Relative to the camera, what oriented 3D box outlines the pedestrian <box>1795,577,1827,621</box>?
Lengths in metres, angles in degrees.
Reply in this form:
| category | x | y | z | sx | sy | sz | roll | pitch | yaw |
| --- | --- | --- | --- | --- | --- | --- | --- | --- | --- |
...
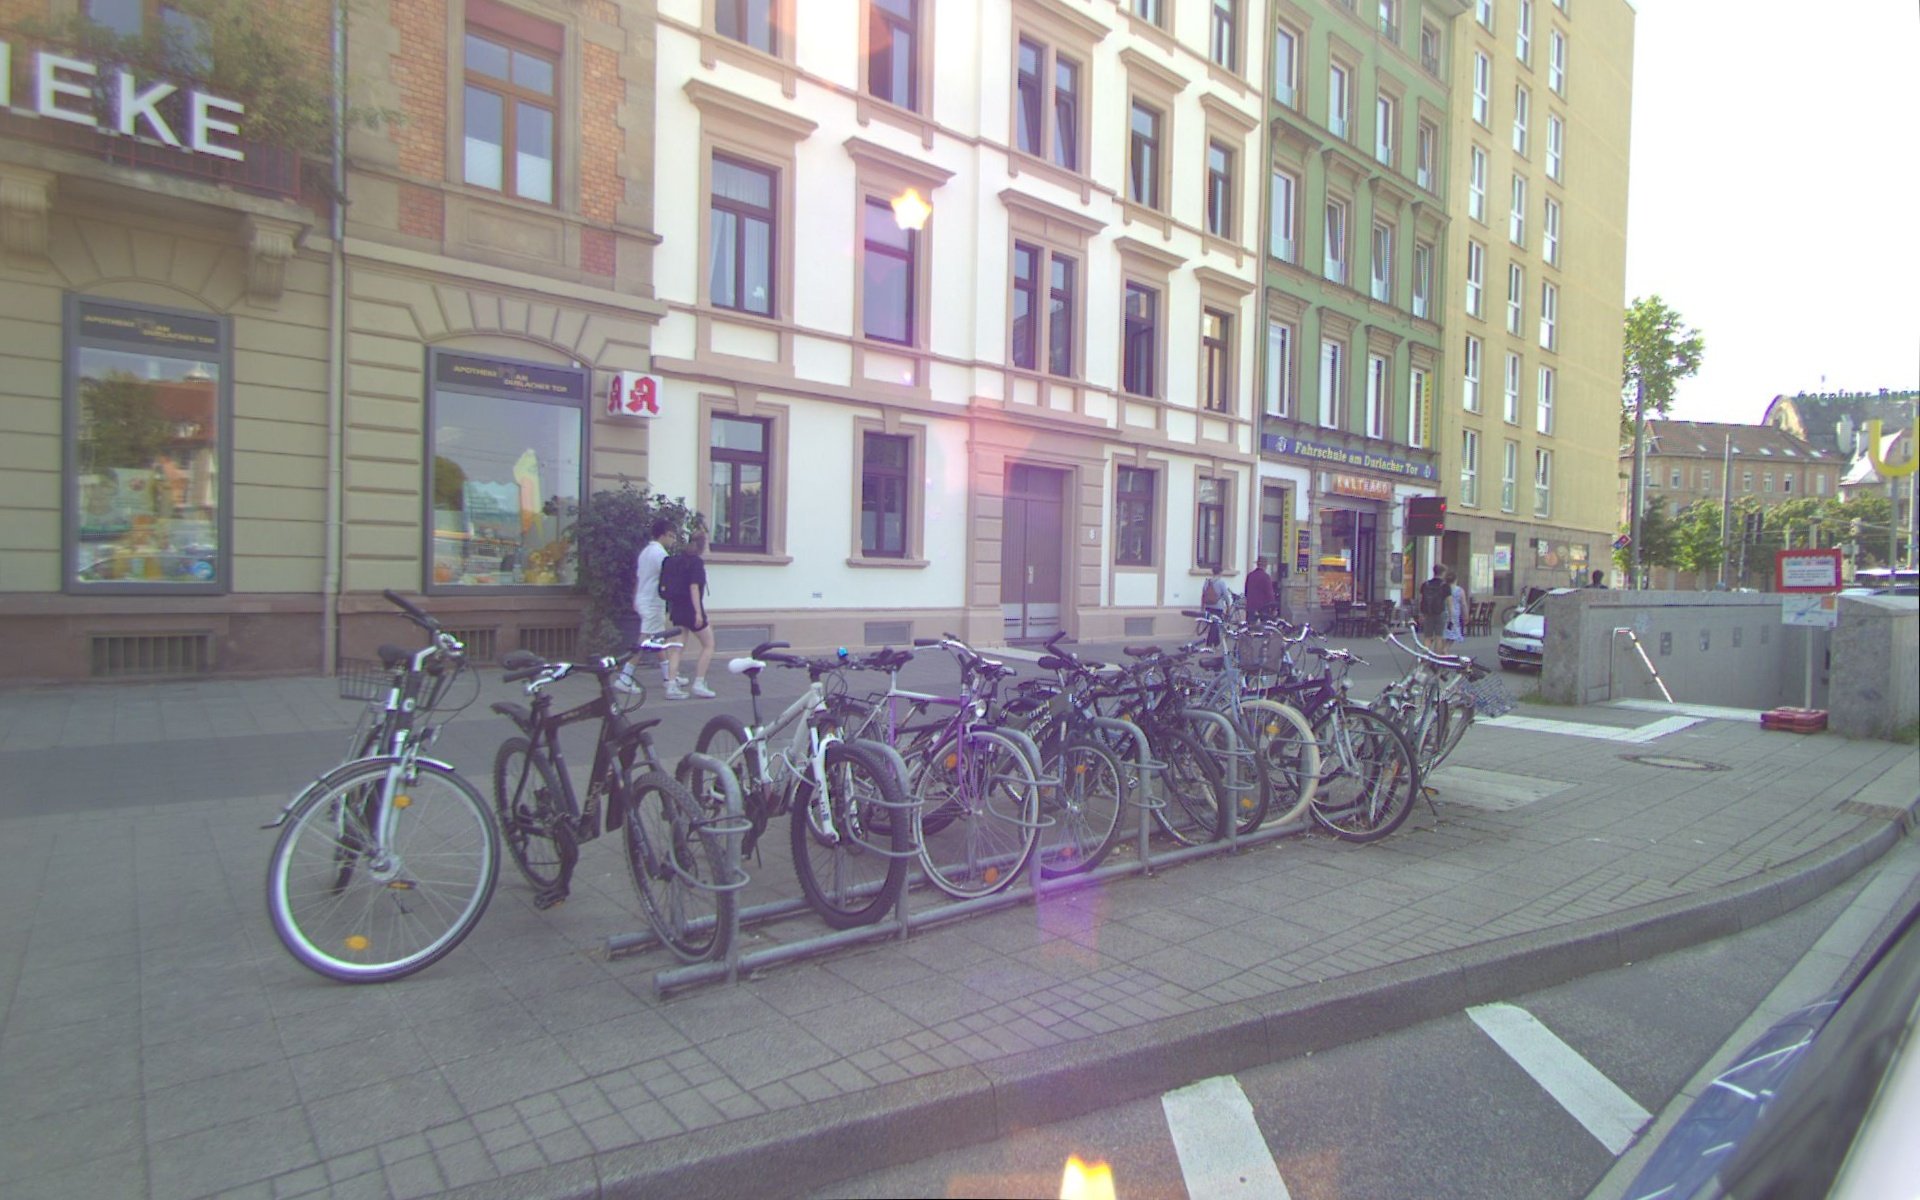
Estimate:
| category | x | y | z | sx | sy | sz | roll | pitch | yaw |
| --- | --- | --- | --- | --- | --- | --- | --- | --- | --- |
| pedestrian | 32.741 | -0.056 | 38.926 | 0.934 | 1.628 | 0.792 | -1 | 3 | -43 |

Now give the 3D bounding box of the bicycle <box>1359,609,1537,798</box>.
| category | x | y | z | sx | sy | sz | roll | pitch | yaw |
| --- | --- | --- | --- | --- | --- | --- | --- | --- | --- |
| bicycle | 3.249 | 0.626 | 6.690 | 1.479 | 1.084 | 0.476 | 0 | 2 | -40 |

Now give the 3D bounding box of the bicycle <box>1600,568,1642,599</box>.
| category | x | y | z | sx | sy | sz | roll | pitch | yaw |
| --- | --- | --- | --- | --- | --- | --- | --- | --- | --- |
| bicycle | 27.151 | -0.677 | 41.534 | 2.392 | 1.254 | 0.793 | 0 | 2 | -41 |

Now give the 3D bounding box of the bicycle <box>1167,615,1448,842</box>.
| category | x | y | z | sx | sy | sz | roll | pitch | yaw |
| --- | --- | --- | --- | --- | --- | --- | --- | --- | --- |
| bicycle | 1.917 | 0.653 | 5.779 | 0.358 | 1.085 | 1.540 | 2 | 0 | -40 |

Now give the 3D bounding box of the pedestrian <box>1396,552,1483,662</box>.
| category | x | y | z | sx | sy | sz | roll | pitch | yaw |
| --- | --- | --- | --- | --- | --- | --- | --- | --- | --- |
| pedestrian | 7.979 | 0.106 | 16.851 | 0.952 | 1.750 | 0.853 | 3 | 1 | -34 |

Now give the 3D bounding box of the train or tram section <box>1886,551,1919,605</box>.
| category | x | y | z | sx | sy | sz | roll | pitch | yaw |
| --- | --- | --- | --- | --- | --- | --- | --- | --- | --- |
| train or tram section | 65.791 | -1.305 | 64.005 | 2.544 | 3.604 | 12.229 | 1 | 2 | -3 |

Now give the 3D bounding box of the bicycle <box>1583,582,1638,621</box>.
| category | x | y | z | sx | sy | sz | roll | pitch | yaw |
| --- | --- | --- | --- | --- | --- | --- | --- | --- | --- |
| bicycle | 21.857 | 0.059 | 34.012 | 1.514 | 1.254 | 0.593 | 1 | 1 | -7 |

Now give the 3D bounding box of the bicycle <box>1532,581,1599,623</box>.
| category | x | y | z | sx | sy | sz | roll | pitch | yaw |
| --- | --- | --- | --- | --- | --- | --- | --- | --- | --- |
| bicycle | 18.827 | 0.062 | 31.451 | 2.377 | 1.254 | 0.941 | 0 | 2 | -37 |

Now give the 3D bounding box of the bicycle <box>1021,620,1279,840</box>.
| category | x | y | z | sx | sy | sz | roll | pitch | yaw |
| --- | --- | --- | --- | --- | --- | --- | --- | --- | --- |
| bicycle | 1.012 | 0.658 | 5.709 | 0.358 | 1.029 | 1.540 | 2 | 0 | -40 |

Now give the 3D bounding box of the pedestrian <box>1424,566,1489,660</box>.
| category | x | y | z | sx | sy | sz | roll | pitch | yaw |
| --- | --- | --- | --- | --- | --- | --- | --- | --- | --- |
| pedestrian | 8.794 | 0.203 | 17.970 | 0.841 | 1.601 | 0.966 | 1 | 2 | 16 |

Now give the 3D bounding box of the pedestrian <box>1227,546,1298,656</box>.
| category | x | y | z | sx | sy | sz | roll | pitch | yaw |
| --- | --- | --- | --- | --- | --- | --- | --- | --- | --- |
| pedestrian | 5.132 | 0.008 | 17.163 | 0.999 | 1.796 | 0.685 | 1 | 1 | -41 |

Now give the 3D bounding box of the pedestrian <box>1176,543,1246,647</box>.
| category | x | y | z | sx | sy | sz | roll | pitch | yaw |
| --- | --- | --- | --- | --- | --- | --- | --- | --- | --- |
| pedestrian | 4.451 | -0.093 | 17.940 | 0.999 | 1.796 | 0.685 | 1 | 1 | -41 |

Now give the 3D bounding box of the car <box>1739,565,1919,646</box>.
| category | x | y | z | sx | sy | sz | roll | pitch | yaw |
| --- | --- | --- | --- | --- | --- | --- | --- | --- | --- |
| car | 21.176 | 0.103 | 23.348 | 4.588 | 1.735 | 2.040 | 1 | 2 | 9 |

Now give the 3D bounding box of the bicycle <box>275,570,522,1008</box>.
| category | x | y | z | sx | sy | sz | roll | pitch | yaw |
| --- | --- | --- | --- | --- | --- | --- | --- | --- | --- |
| bicycle | -2.126 | 0.510 | 3.717 | 0.631 | 1.231 | 1.679 | 0 | 1 | -35 |

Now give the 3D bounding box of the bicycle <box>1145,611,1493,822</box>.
| category | x | y | z | sx | sy | sz | roll | pitch | yaw |
| --- | --- | --- | --- | --- | --- | --- | --- | --- | --- |
| bicycle | 2.164 | 0.646 | 6.412 | 0.375 | 1.085 | 2.123 | 2 | 0 | -44 |

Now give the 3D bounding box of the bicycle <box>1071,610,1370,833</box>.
| category | x | y | z | sx | sy | sz | roll | pitch | yaw |
| --- | --- | --- | --- | --- | --- | --- | --- | --- | --- |
| bicycle | 1.460 | 0.632 | 6.004 | 0.358 | 1.085 | 1.839 | 2 | 0 | -40 |

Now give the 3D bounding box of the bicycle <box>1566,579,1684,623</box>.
| category | x | y | z | sx | sy | sz | roll | pitch | yaw |
| --- | --- | --- | --- | --- | --- | --- | --- | --- | --- |
| bicycle | 23.404 | 0.016 | 35.708 | 3.314 | 1.422 | 0.900 | 2 | 1 | 14 |

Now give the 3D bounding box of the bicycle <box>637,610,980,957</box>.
| category | x | y | z | sx | sy | sz | roll | pitch | yaw |
| --- | --- | --- | --- | --- | --- | --- | --- | --- | --- |
| bicycle | -0.701 | 0.614 | 4.182 | 0.632 | 1.085 | 1.661 | 0 | 1 | -40 |

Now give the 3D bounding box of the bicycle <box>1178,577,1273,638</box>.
| category | x | y | z | sx | sy | sz | roll | pitch | yaw |
| --- | --- | --- | --- | --- | --- | --- | --- | --- | --- |
| bicycle | 5.468 | 0.170 | 20.719 | 2.425 | 1.161 | 0.481 | 2 | 0 | -39 |

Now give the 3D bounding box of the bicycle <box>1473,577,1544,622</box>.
| category | x | y | z | sx | sy | sz | roll | pitch | yaw |
| --- | --- | --- | --- | --- | --- | --- | --- | --- | --- |
| bicycle | 16.171 | -0.016 | 29.811 | 2.377 | 1.254 | 0.941 | 0 | 2 | -37 |

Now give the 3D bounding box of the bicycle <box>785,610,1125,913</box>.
| category | x | y | z | sx | sy | sz | roll | pitch | yaw |
| --- | --- | --- | --- | --- | --- | --- | --- | --- | --- |
| bicycle | -0.094 | 0.617 | 4.643 | 0.632 | 1.085 | 1.661 | 2 | 0 | -40 |

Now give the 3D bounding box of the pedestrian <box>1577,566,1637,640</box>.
| category | x | y | z | sx | sy | sz | roll | pitch | yaw |
| --- | --- | --- | --- | --- | --- | --- | --- | --- | --- |
| pedestrian | 14.407 | 0.039 | 22.555 | 0.841 | 1.601 | 0.966 | 1 | 2 | 16 |

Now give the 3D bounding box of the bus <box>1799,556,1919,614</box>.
| category | x | y | z | sx | sy | sz | roll | pitch | yaw |
| --- | --- | --- | --- | --- | --- | --- | --- | --- | --- |
| bus | 52.580 | -0.772 | 54.798 | 2.678 | 3.102 | 12.106 | 1 | 2 | -10 |

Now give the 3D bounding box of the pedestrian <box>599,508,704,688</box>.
| category | x | y | z | sx | sy | sz | roll | pitch | yaw |
| --- | --- | --- | --- | --- | --- | --- | --- | --- | --- |
| pedestrian | -3.277 | -0.042 | 10.749 | 0.864 | 1.816 | 0.601 | 0 | 4 | -40 |

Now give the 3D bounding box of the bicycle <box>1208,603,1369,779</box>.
| category | x | y | z | sx | sy | sz | roll | pitch | yaw |
| --- | --- | --- | --- | --- | --- | --- | --- | --- | --- |
| bicycle | 2.351 | 0.598 | 7.439 | 0.679 | 1.133 | 1.563 | 1 | 0 | 1 |

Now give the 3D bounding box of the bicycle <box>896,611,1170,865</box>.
| category | x | y | z | sx | sy | sz | roll | pitch | yaw |
| --- | --- | --- | --- | --- | --- | --- | --- | --- | --- |
| bicycle | 0.321 | 0.624 | 5.250 | 0.463 | 1.085 | 1.540 | 2 | 0 | -40 |

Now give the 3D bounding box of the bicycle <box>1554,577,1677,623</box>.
| category | x | y | z | sx | sy | sz | roll | pitch | yaw |
| --- | --- | --- | --- | --- | --- | --- | --- | --- | --- |
| bicycle | 22.048 | -0.033 | 34.115 | 3.314 | 1.422 | 0.900 | 2 | 1 | 14 |

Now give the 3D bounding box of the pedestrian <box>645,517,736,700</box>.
| category | x | y | z | sx | sy | sz | roll | pitch | yaw |
| --- | --- | --- | --- | --- | --- | --- | --- | --- | --- |
| pedestrian | -2.738 | 0.068 | 10.276 | 0.667 | 1.771 | 0.578 | 0 | 4 | -40 |

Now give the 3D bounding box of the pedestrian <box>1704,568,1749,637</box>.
| category | x | y | z | sx | sy | sz | roll | pitch | yaw |
| --- | --- | --- | --- | --- | --- | --- | --- | --- | --- |
| pedestrian | 19.533 | 0.052 | 25.797 | 0.926 | 1.706 | 0.672 | 0 | 2 | -40 |

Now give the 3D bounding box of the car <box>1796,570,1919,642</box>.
| category | x | y | z | sx | sy | sz | roll | pitch | yaw |
| --- | --- | --- | --- | --- | --- | --- | --- | --- | --- |
| car | 24.327 | 0.149 | 25.687 | 4.319 | 1.708 | 1.982 | 1 | 2 | 9 |

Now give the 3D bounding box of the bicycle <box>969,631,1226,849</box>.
| category | x | y | z | sx | sy | sz | roll | pitch | yaw |
| --- | --- | --- | --- | --- | --- | --- | --- | --- | --- |
| bicycle | 0.693 | 0.689 | 5.535 | 0.358 | 0.964 | 1.540 | 2 | 0 | -40 |

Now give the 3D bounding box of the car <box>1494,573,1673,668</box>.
| category | x | y | z | sx | sy | sz | roll | pitch | yaw |
| --- | --- | --- | --- | --- | --- | --- | --- | --- | --- |
| car | 11.011 | 0.328 | 17.792 | 3.555 | 1.458 | 1.634 | 1 | 1 | -41 |

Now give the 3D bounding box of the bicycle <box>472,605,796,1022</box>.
| category | x | y | z | sx | sy | sz | roll | pitch | yaw |
| --- | --- | --- | --- | --- | --- | --- | --- | --- | --- |
| bicycle | -1.274 | 0.587 | 3.676 | 0.631 | 1.085 | 1.783 | 0 | 1 | -35 |

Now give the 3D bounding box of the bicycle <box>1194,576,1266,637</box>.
| category | x | y | z | sx | sy | sz | roll | pitch | yaw |
| --- | --- | --- | --- | --- | --- | --- | --- | --- | --- |
| bicycle | 5.558 | 0.120 | 20.788 | 1.815 | 1.198 | 0.459 | 0 | 2 | -41 |

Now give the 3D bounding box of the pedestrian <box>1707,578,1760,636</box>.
| category | x | y | z | sx | sy | sz | roll | pitch | yaw |
| --- | --- | --- | --- | --- | --- | --- | --- | --- | --- |
| pedestrian | 21.854 | 0.179 | 28.622 | 0.841 | 1.601 | 0.966 | 1 | 2 | 16 |
